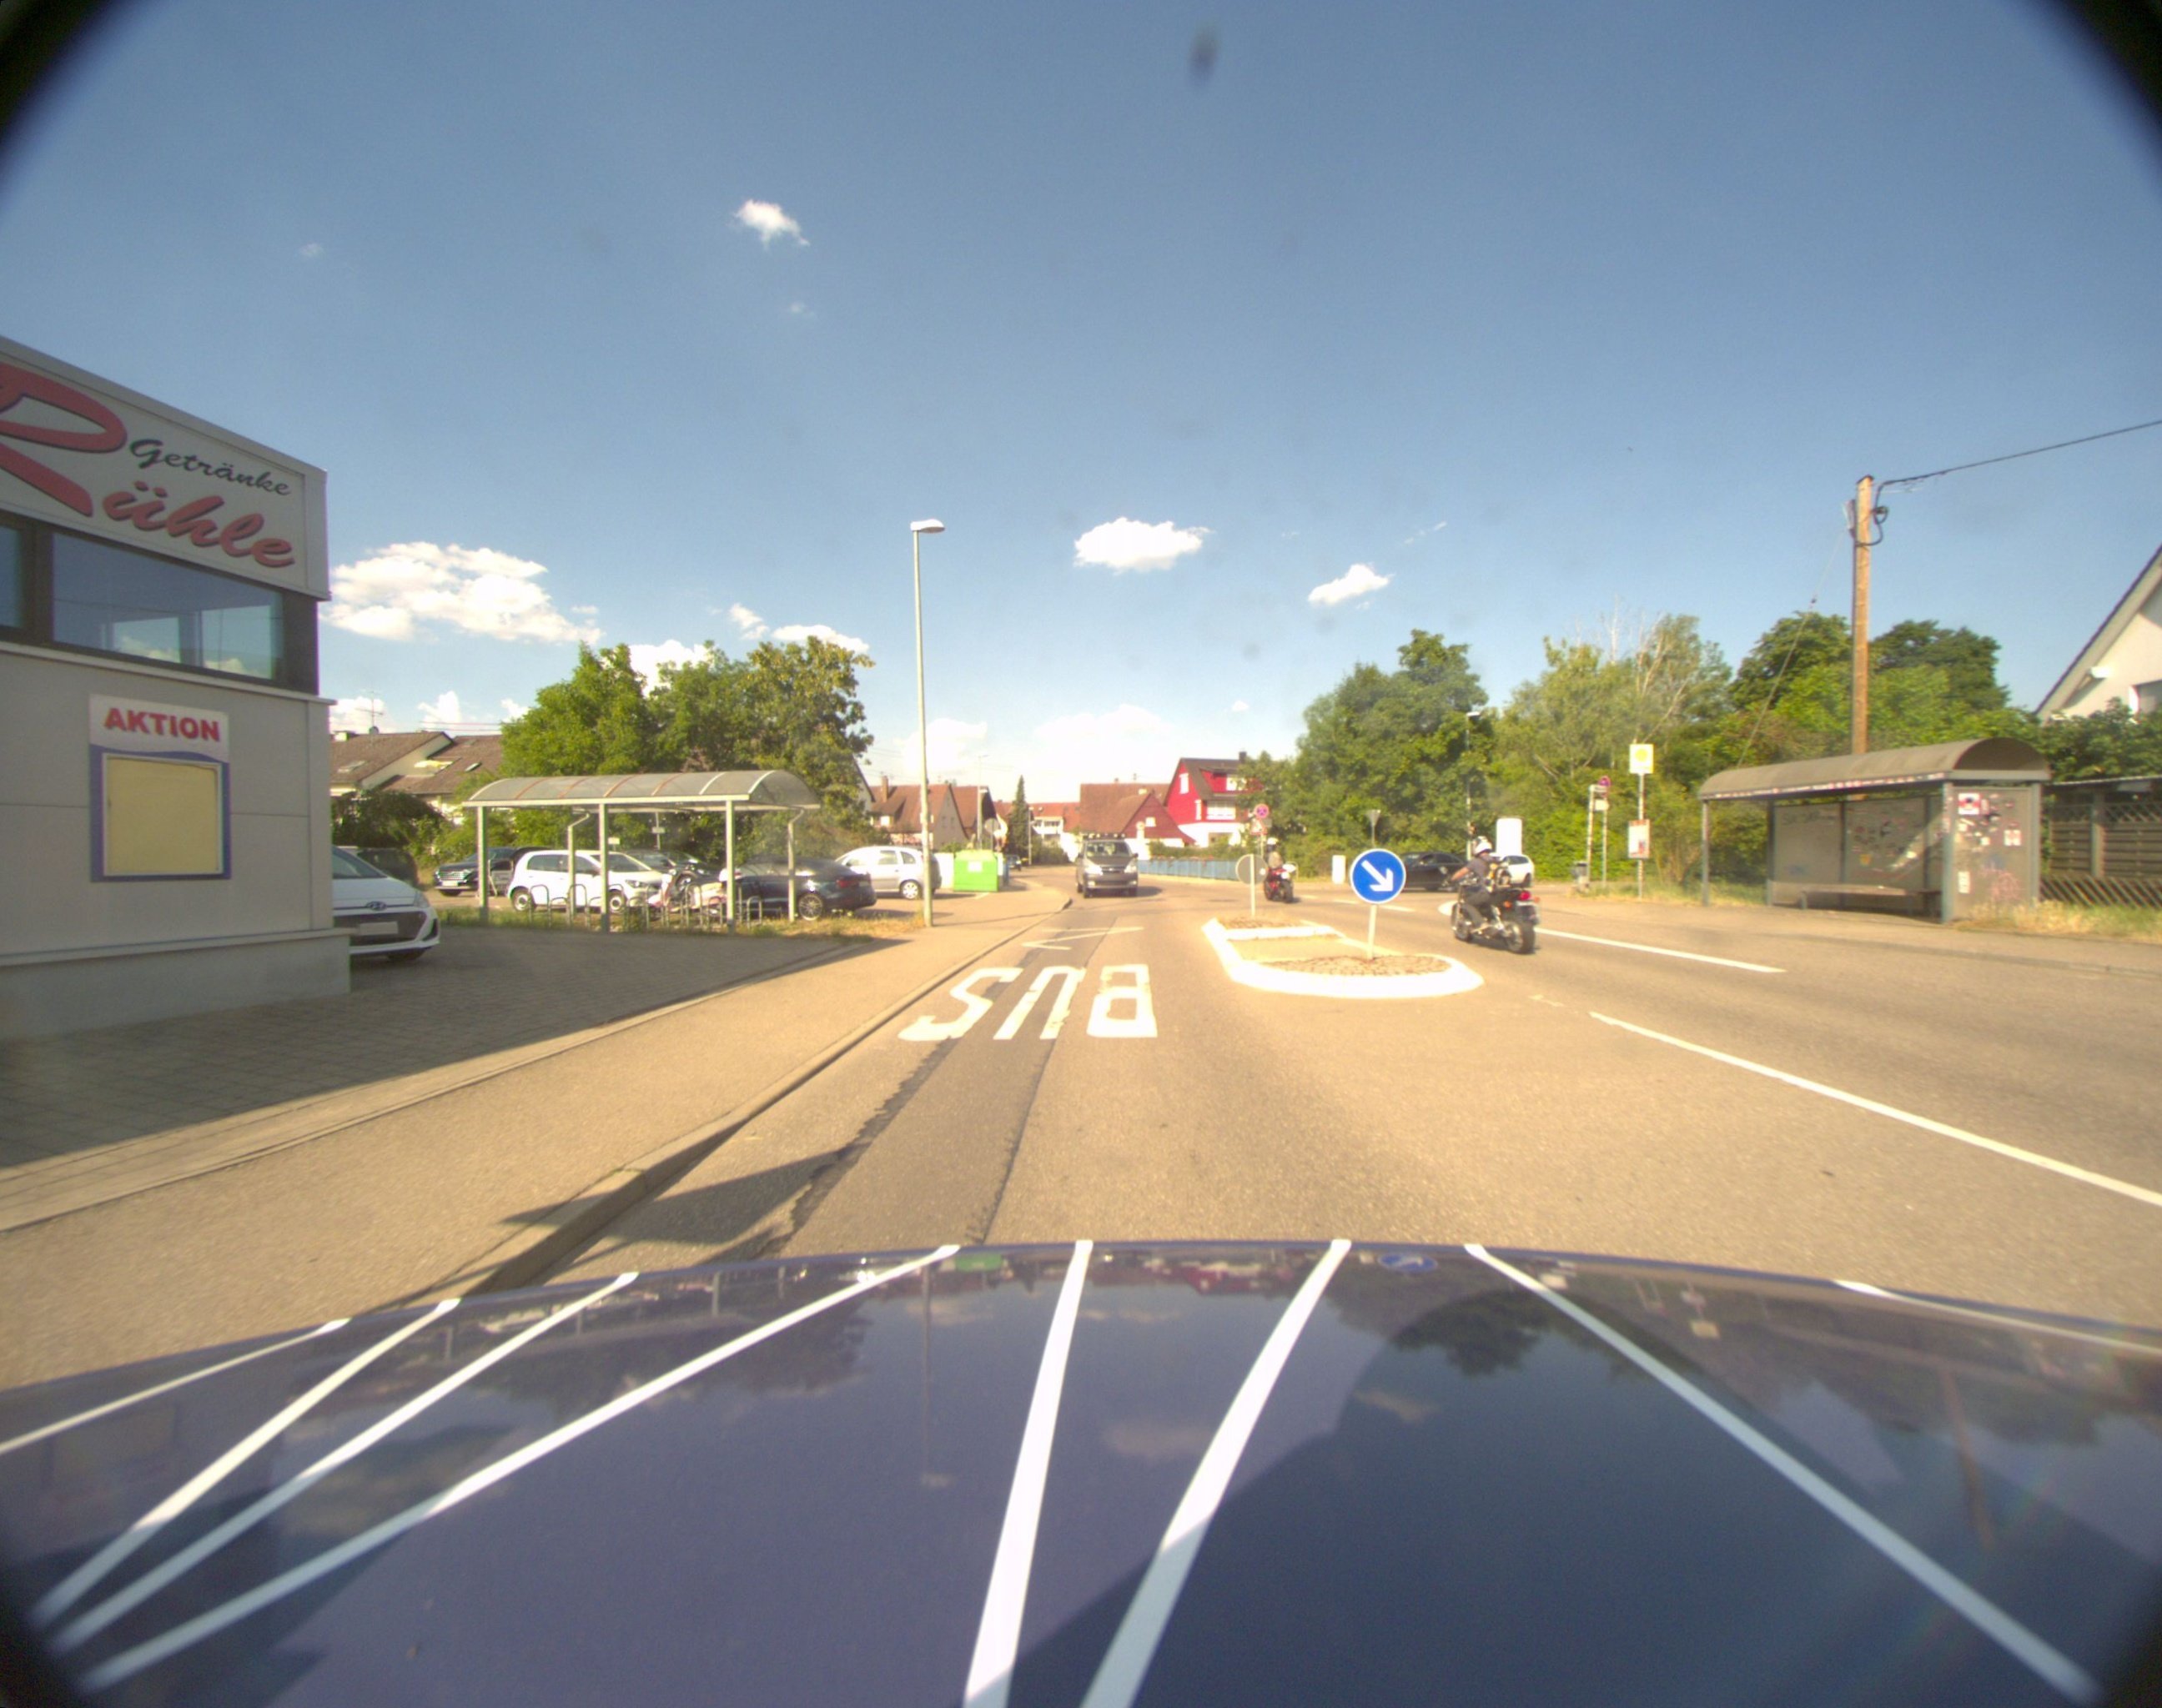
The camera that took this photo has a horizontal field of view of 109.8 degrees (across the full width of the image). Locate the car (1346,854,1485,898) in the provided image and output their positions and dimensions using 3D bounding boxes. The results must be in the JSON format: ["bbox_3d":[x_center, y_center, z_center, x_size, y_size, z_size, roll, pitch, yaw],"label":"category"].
[{"bbox_3d":[12.031,0.731,27.325,4.851,1.423,1.767,0,1,-24],"label":"car"}]

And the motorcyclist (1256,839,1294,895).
[{"bbox_3d":[5.474,0.351,21.500,0.738,1.518,1.016,-3,1,-2],"label":"motorcyclist"}]

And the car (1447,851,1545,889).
[{"bbox_3d":[17.884,0.653,32.706,4.283,1.483,1.857,0,1,-32],"label":"car"}]

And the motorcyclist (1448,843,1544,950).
[{"bbox_3d":[5.809,0.569,10.694,0.804,1.428,1.037,-1,1,5],"label":"motorcyclist"}]

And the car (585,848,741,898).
[{"bbox_3d":[-12.917,0.560,23.598,3.947,1.440,1.683,0,2,4],"label":"car"}]

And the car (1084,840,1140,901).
[{"bbox_3d":[1.033,0.527,27.249,1.820,1.988,4.820,0,0,0],"label":"car"}]

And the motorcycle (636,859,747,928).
[{"bbox_3d":[-7.671,0.780,15.043,1.832,1.316,0.640,1,1,-13],"label":"motorcycle"}]

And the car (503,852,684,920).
[{"bbox_3d":[-11.431,0.707,17.906,3.443,1.409,1.499,1,1,9],"label":"car"}]

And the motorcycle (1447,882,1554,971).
[{"bbox_3d":[5.837,0.965,10.705,0.525,1.007,2.028,-2,1,5],"label":"motorcycle"}]

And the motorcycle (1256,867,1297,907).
[{"bbox_3d":[5.511,0.902,21.501,0.539,1.007,2.027,-3,1,-2],"label":"motorcycle"}]

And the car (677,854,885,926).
[{"bbox_3d":[-6.706,0.766,17.165,4.072,1.409,1.626,1,1,7],"label":"car"}]

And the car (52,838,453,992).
[{"bbox_3d":[-9.298,0.592,8.605,3.561,1.449,1.500,1,0,13],"label":"car"}]

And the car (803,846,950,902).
[{"bbox_3d":[-6.135,0.561,23.027,3.947,1.594,1.683,0,2,4],"label":"car"}]

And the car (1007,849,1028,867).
[{"bbox_3d":[-6.335,0.364,75.386,1.974,1.647,3.997,1,1,-5],"label":"car"}]

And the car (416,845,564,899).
[{"bbox_3d":[-19.338,0.535,25.092,1.681,1.643,3.952,0,1,2],"label":"car"}]
